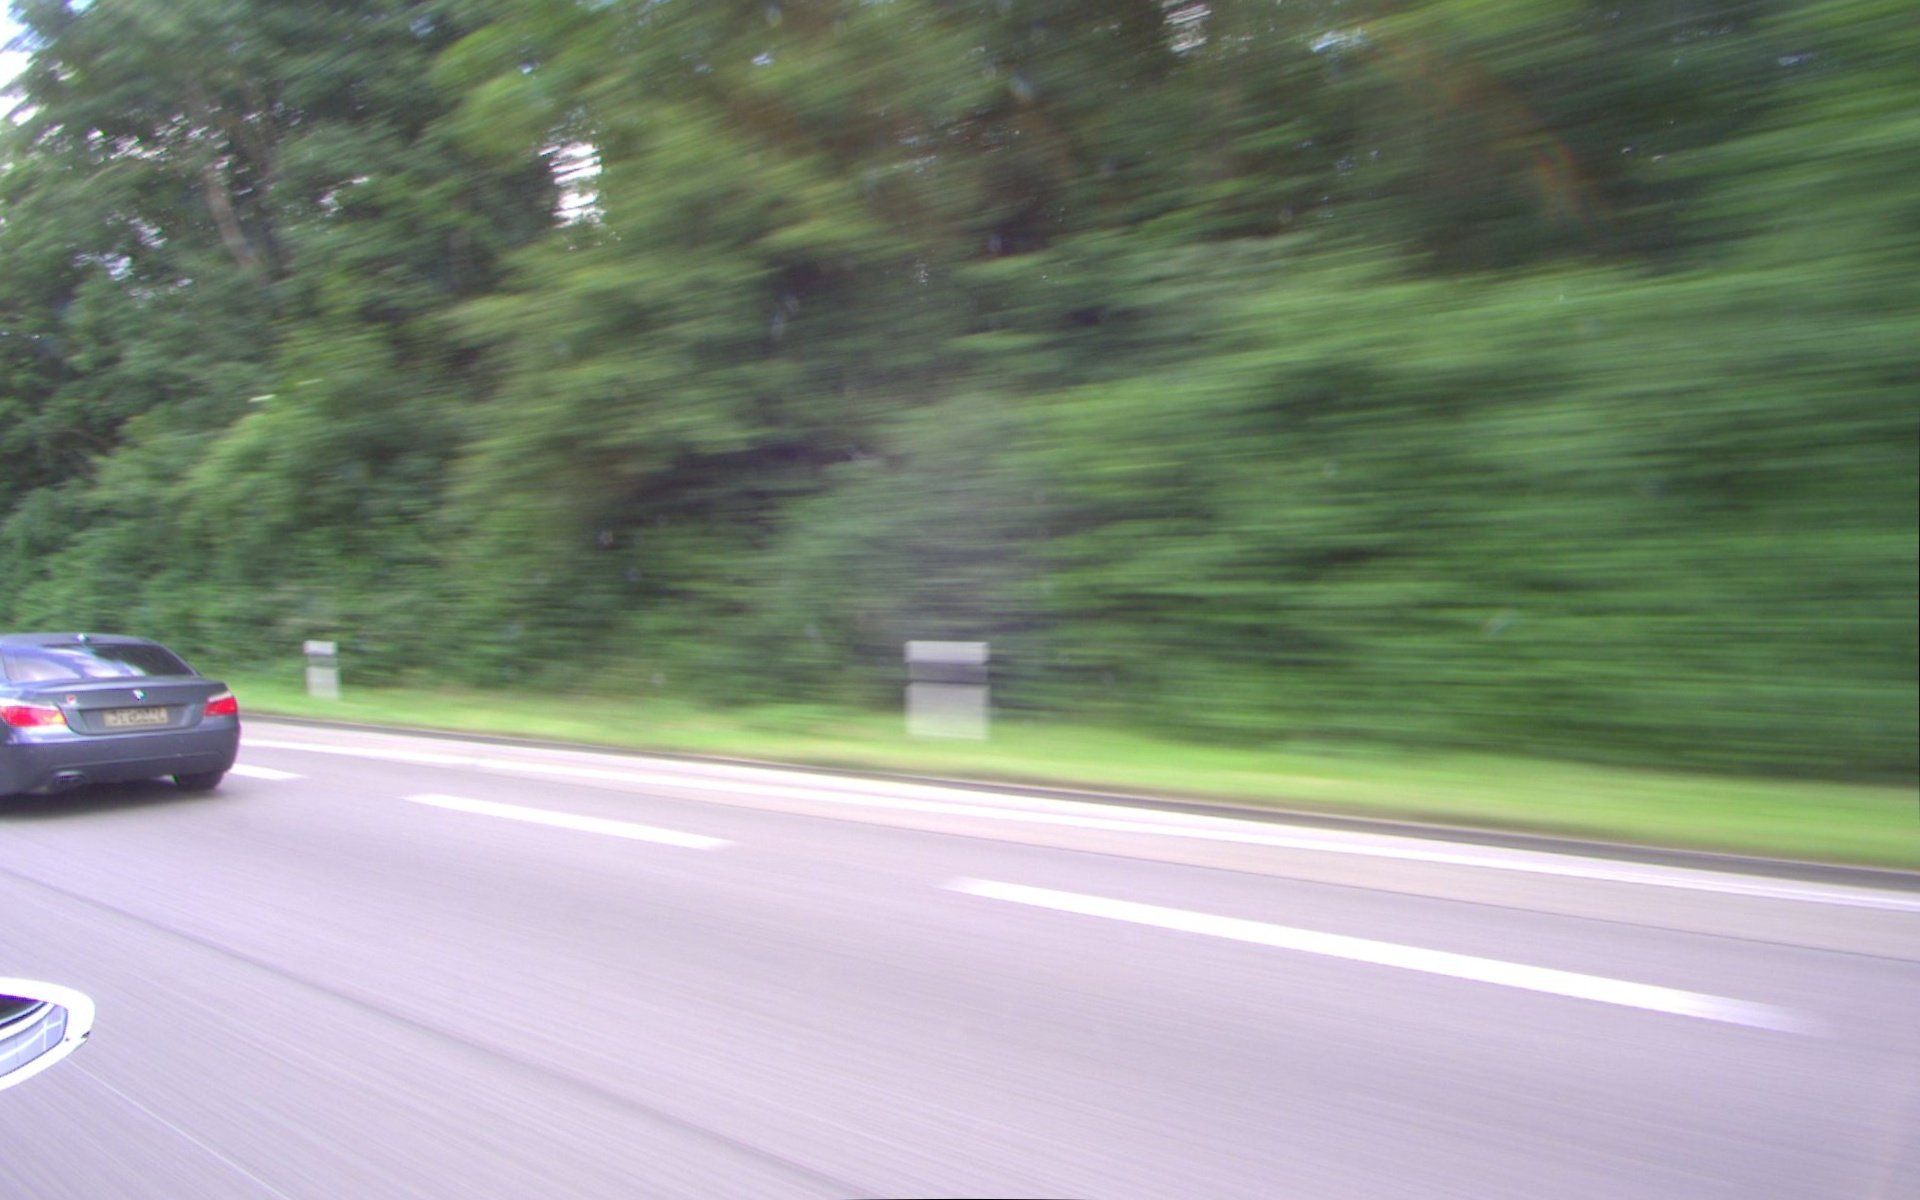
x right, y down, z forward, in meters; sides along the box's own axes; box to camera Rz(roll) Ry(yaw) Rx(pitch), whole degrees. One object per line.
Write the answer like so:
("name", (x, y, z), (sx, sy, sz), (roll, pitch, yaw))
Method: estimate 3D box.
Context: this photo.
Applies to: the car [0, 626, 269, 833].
("car", (-8.565, 0.996, 9.319), (4.810, 1.494, 1.771), (-1, -2, 32))
